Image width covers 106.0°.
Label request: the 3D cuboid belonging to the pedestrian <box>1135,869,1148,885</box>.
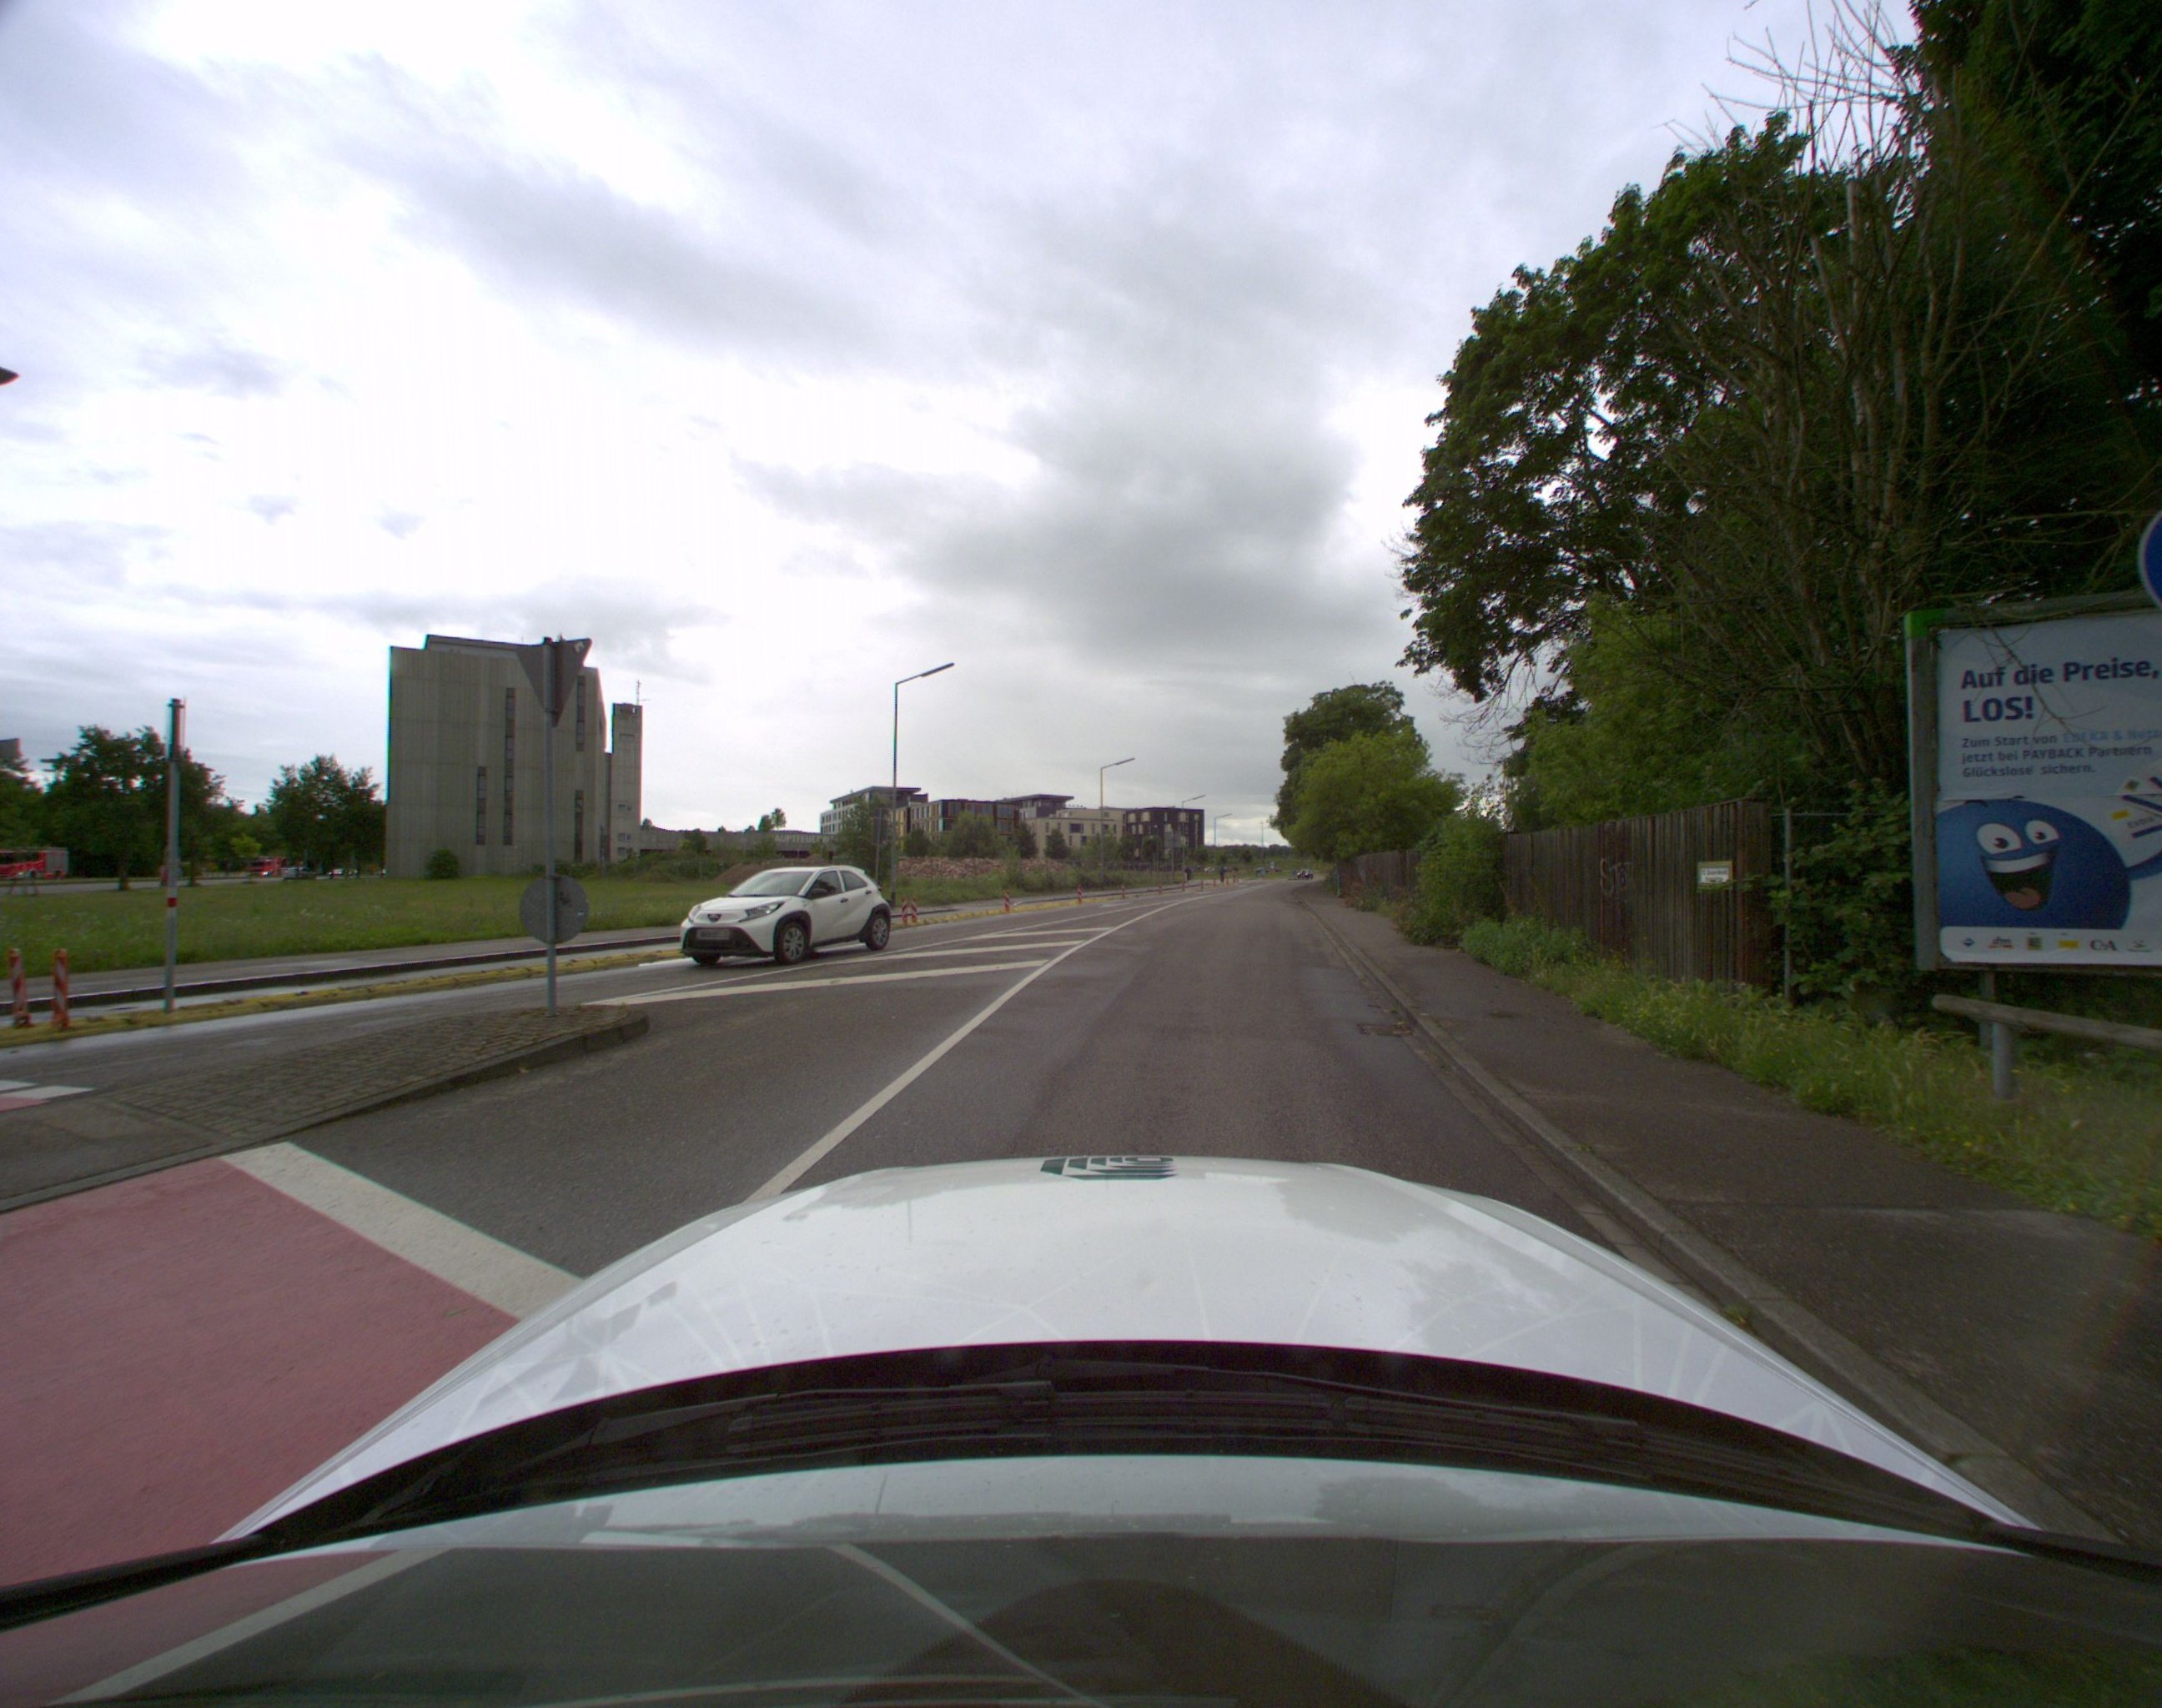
[{"bbox_3d":[6.822,2.580,92.044,1.161,1.847,0.740,-1,-1,33],"label":"pedestrian"}]

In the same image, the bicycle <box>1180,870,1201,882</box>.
[{"bbox_3d":[14.004,2.801,104.224,2.499,1.584,1.079,0,-1,-19],"label":"bicycle"}]

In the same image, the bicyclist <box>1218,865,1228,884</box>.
[{"bbox_3d":[14.640,2.100,83.762,0.854,2.014,1.183,-1,-1,18],"label":"bicyclist"}]

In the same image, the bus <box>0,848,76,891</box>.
[{"bbox_3d":[-94.633,1.351,73.206,2.743,3.648,8.314,0,-1,-31],"label":"bus"}]

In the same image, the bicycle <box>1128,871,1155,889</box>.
[{"bbox_3d":[6.830,2.892,92.045,3.096,2.014,0.678,-1,-1,33],"label":"bicycle"}]

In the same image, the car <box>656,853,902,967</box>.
[{"bbox_3d":[-4.766,0.859,13.490,1.737,1.587,3.918,-3,-2,17],"label":"car"}]

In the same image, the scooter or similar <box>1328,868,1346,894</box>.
[{"bbox_3d":[13.544,1.424,43.082,0.686,1.312,2.361,-1,-1,12],"label":"scooter or similar"}]

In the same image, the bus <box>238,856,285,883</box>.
[{"bbox_3d":[-122.602,2.296,121.963,2.743,3.982,9.791,0,-1,-31],"label":"bus"}]

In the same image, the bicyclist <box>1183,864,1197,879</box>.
[{"bbox_3d":[13.942,2.230,104.216,1.402,1.899,1.070,0,-1,-19],"label":"bicyclist"}]

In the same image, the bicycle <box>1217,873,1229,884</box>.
[{"bbox_3d":[14.643,2.516,83.755,0.876,1.052,2.480,-1,-1,18],"label":"bicycle"}]

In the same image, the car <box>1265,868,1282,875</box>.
[{"bbox_3d":[50.627,4.626,214.176,2.005,1.823,3.962,0,-1,-29],"label":"car"}]

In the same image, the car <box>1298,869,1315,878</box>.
[{"bbox_3d":[38.636,3.296,139.431,1.863,1.567,4.385,-1,-1,30],"label":"car"}]
